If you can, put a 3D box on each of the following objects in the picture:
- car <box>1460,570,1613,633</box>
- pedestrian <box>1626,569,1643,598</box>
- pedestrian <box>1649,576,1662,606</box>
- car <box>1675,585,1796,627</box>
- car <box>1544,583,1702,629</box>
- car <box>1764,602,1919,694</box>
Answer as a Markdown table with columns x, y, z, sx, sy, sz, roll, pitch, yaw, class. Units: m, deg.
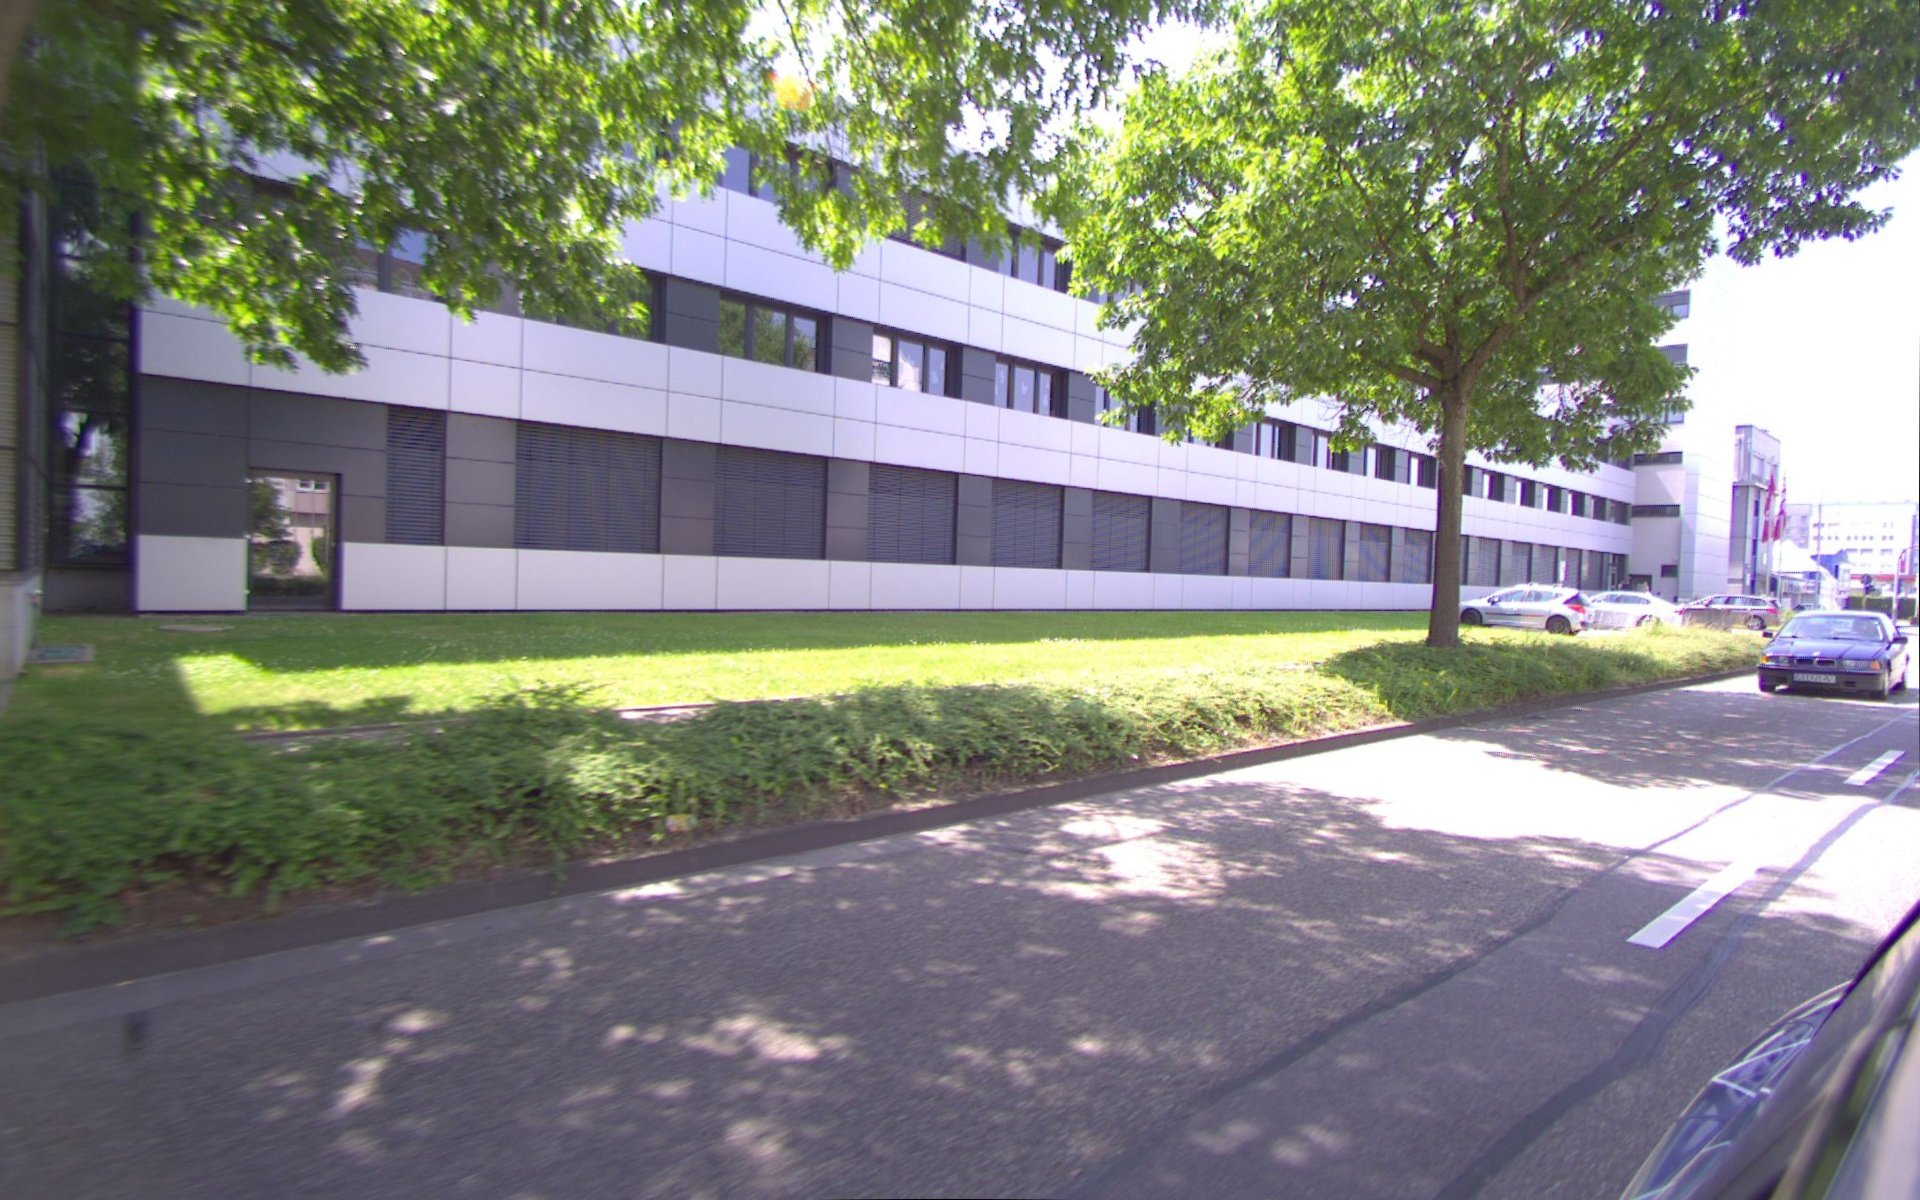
| x | y | z | sx | sy | sz | roll | pitch | yaw | class |
| --- | --- | --- | --- | --- | --- | --- | --- | --- | --- |
| 18.298 | 0.008 | 32.211 | 1.704 | 1.611 | 3.817 | 0 | 5 | -45 | car |
| 39.131 | -0.948 | 58.749 | 0.513 | 1.654 | 0.595 | 1 | 2 | -32 | pedestrian |
| 40.502 | -0.532 | 58.939 | 0.519 | 1.683 | 0.748 | 3 | 2 | 31 | pedestrian |
| 36.752 | 0.230 | 48.020 | 1.968 | 1.709 | 4.263 | 0 | 4 | -45 | car |
| 24.776 | 0.168 | 37.939 | 4.617 | 1.407 | 1.968 | 5 | 4 | 45 | car |
| 15.075 | 0.746 | 17.181 | 3.691 | 1.356 | 1.630 | 1 | 1 | -42 | car |
